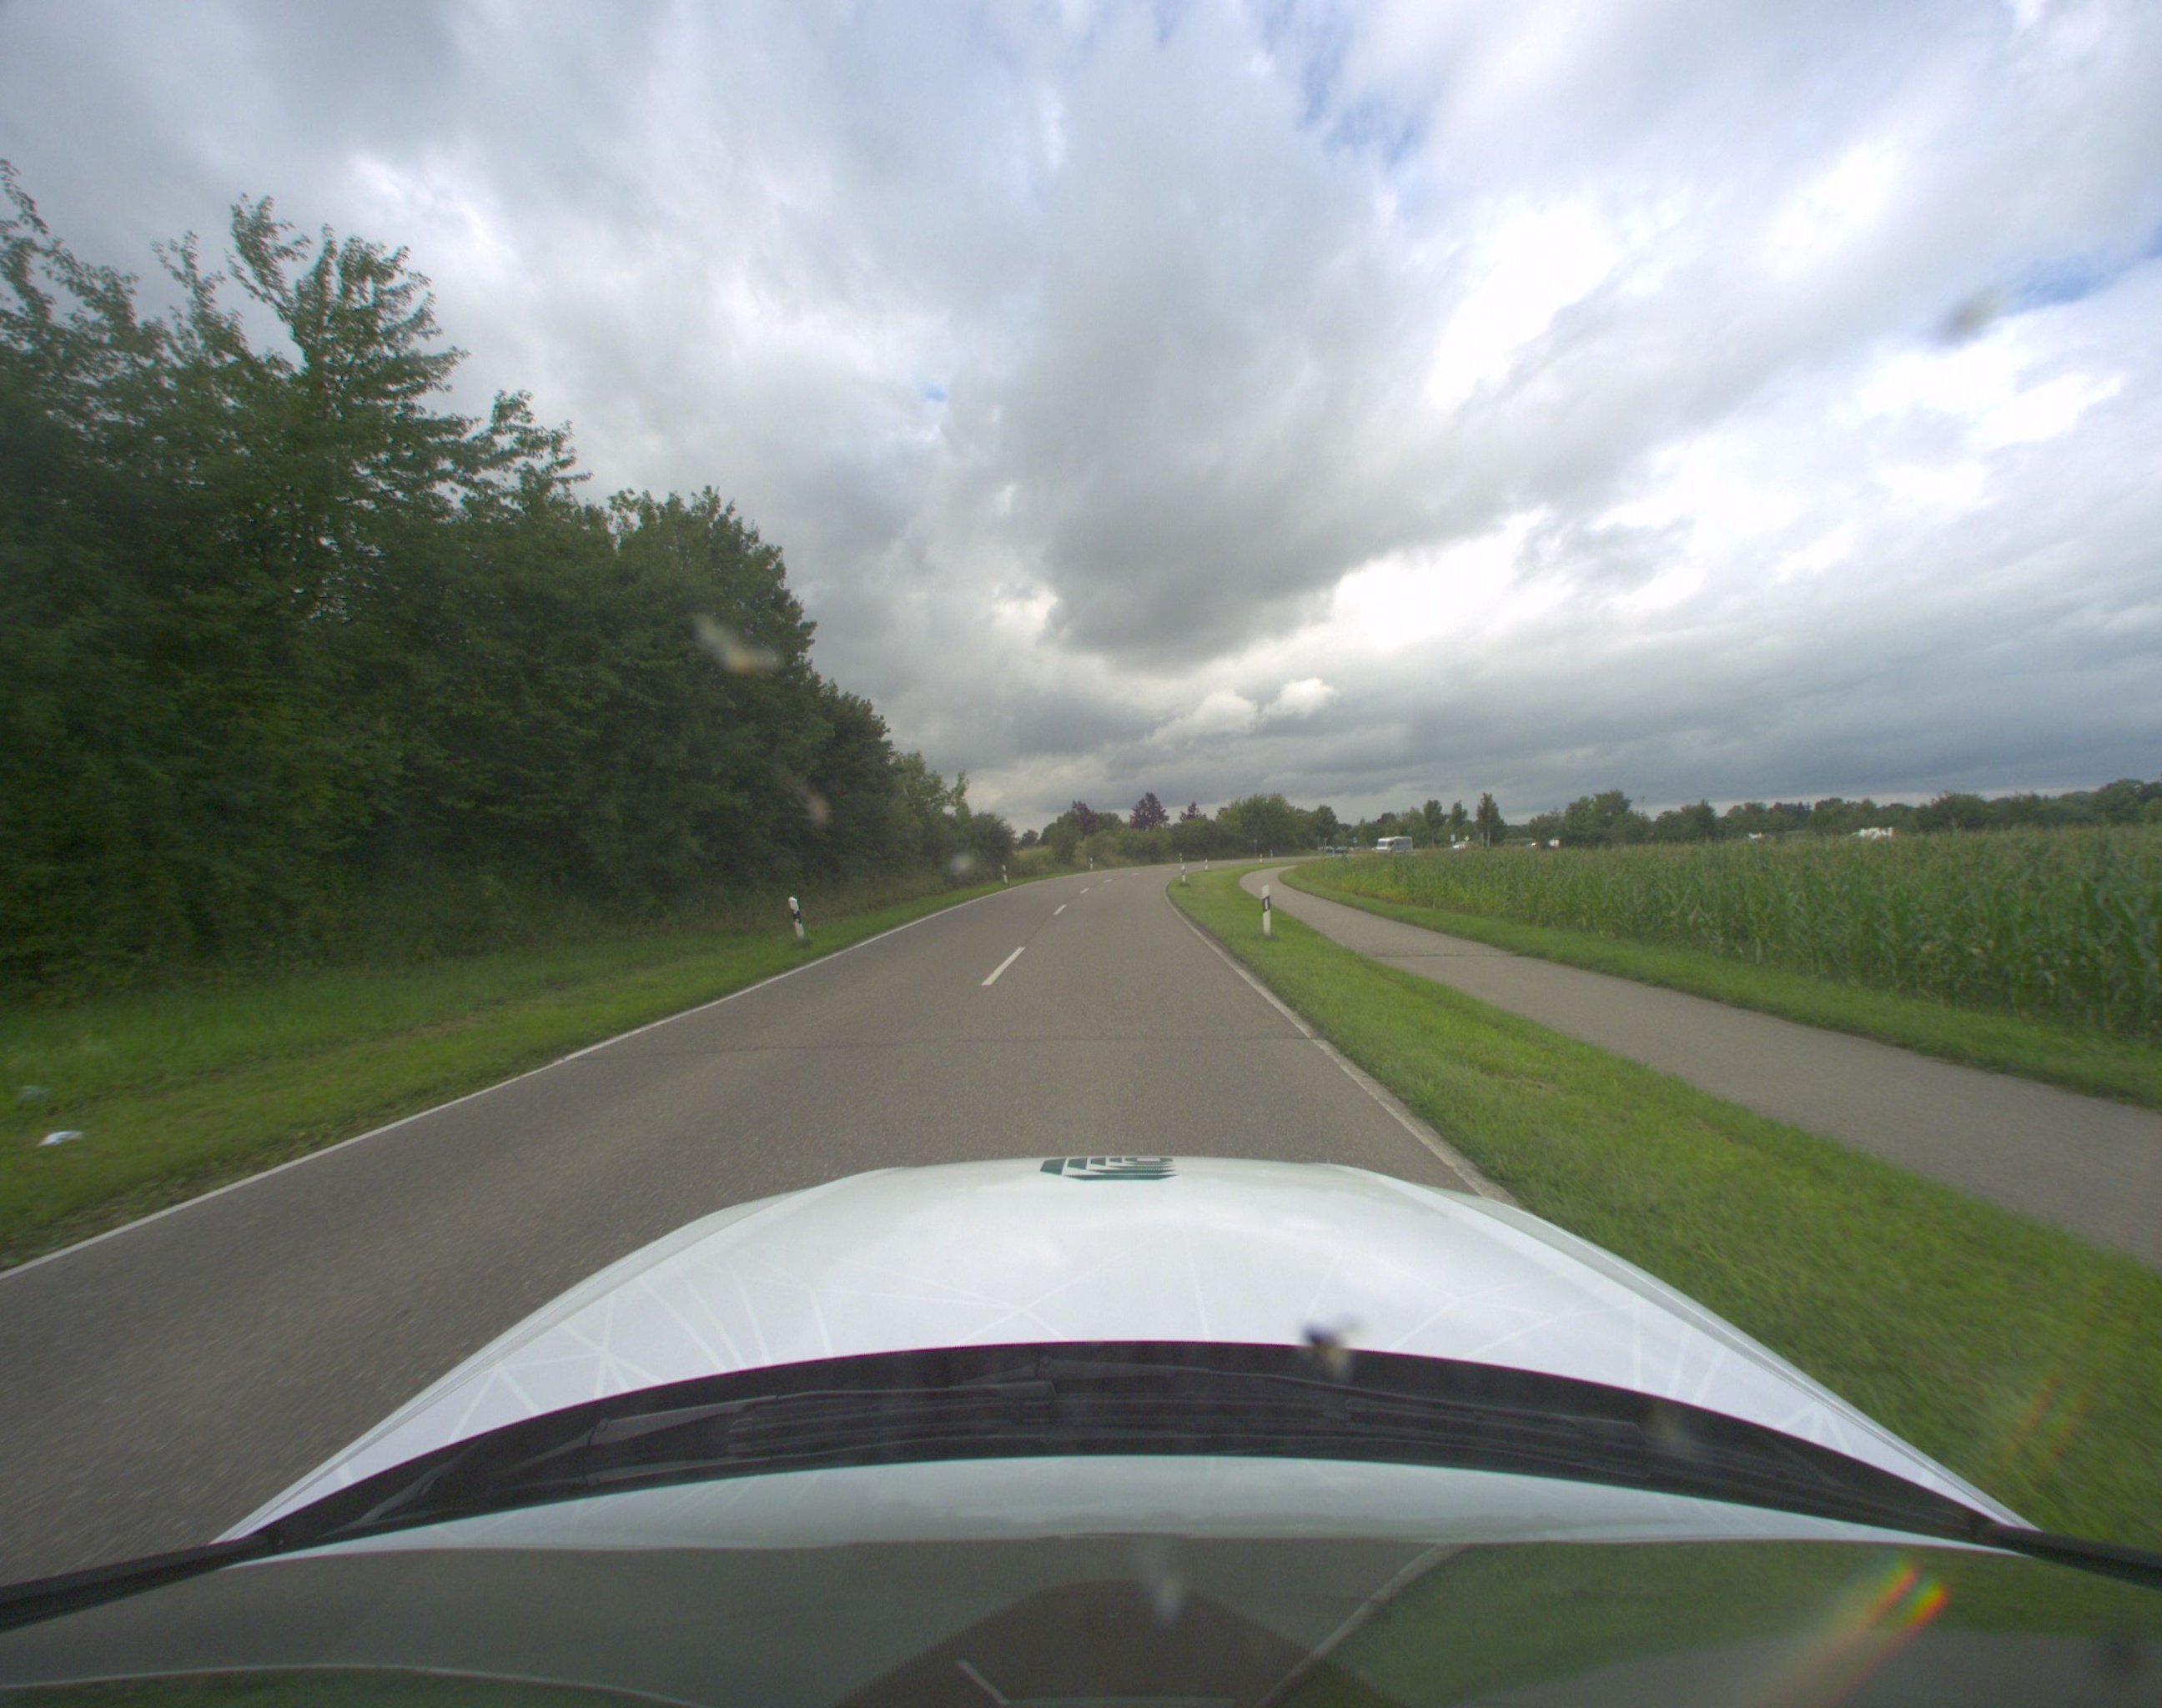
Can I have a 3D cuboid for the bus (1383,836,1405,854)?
[{"bbox_3d":[50.385,-1.434,130.975,2.452,2.711,8.481,-1,1,27],"label":"bus"}]
